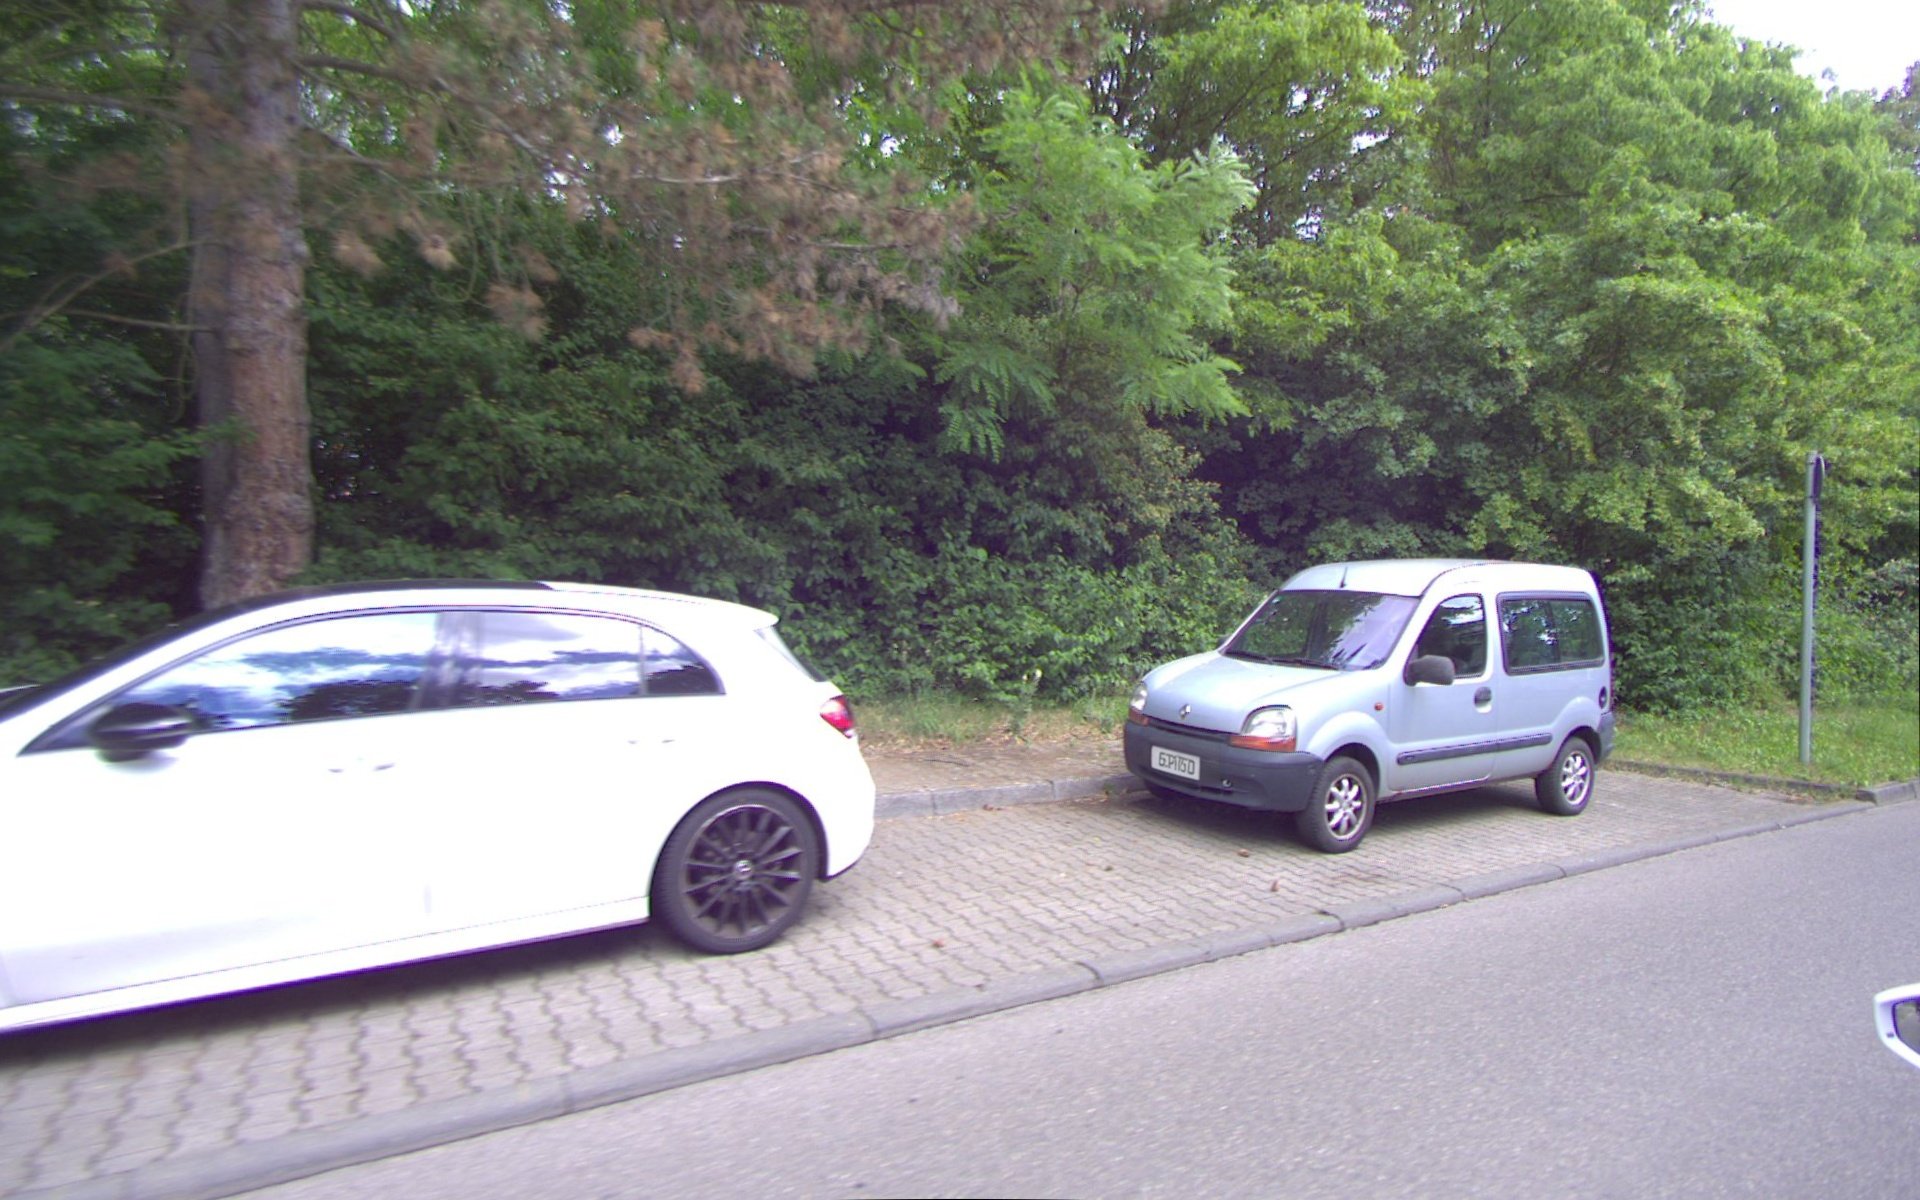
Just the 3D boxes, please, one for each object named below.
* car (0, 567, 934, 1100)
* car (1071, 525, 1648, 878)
[{"bbox_3d":[-2.418,0.638,3.938,4.325,1.422,1.795,1,2,-33],"label":"car"},{"bbox_3d":[2.971,0.540,7.288,4.056,1.947,1.712,1,3,-31],"label":"car"}]
